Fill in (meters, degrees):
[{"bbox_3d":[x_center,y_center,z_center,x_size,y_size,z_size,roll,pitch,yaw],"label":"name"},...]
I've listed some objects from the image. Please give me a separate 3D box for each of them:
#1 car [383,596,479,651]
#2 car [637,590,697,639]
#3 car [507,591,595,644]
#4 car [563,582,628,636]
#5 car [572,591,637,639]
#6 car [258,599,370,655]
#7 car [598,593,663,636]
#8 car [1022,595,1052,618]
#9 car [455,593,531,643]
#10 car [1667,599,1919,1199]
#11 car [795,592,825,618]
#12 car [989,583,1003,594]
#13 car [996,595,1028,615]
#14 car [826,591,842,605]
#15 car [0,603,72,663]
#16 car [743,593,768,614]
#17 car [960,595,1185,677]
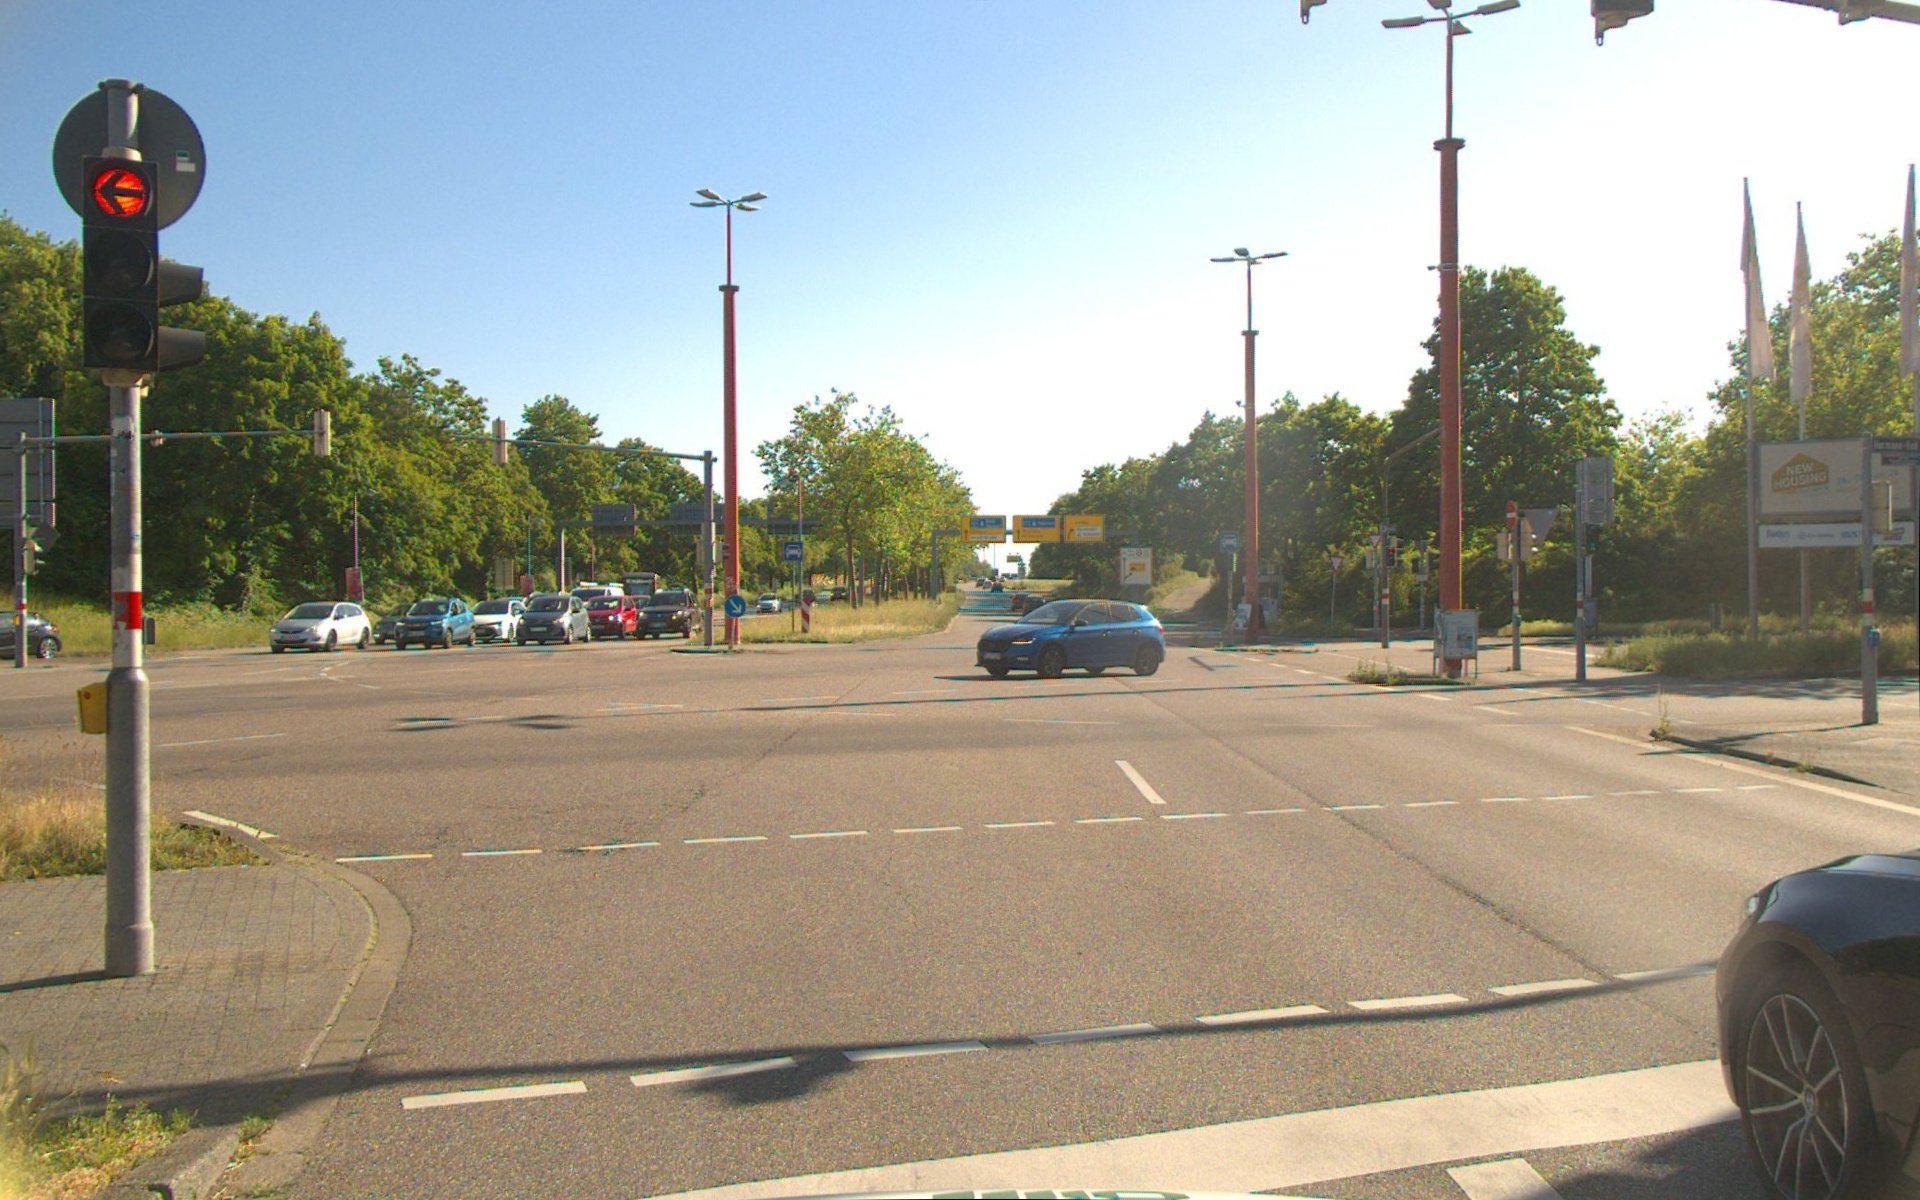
[{"bbox_3d":[-16.208,0.680,50.898,1.955,1.601,4.116,0,0,-5],"label":"car"},{"bbox_3d":[-9.873,0.470,55.998,1.841,1.601,4.113,0,0,-8],"label":"car"},{"bbox_3d":[-12.804,0.519,51.972,1.954,1.601,4.118,0,0,-4],"label":"car"},{"bbox_3d":[-15.670,0.384,71.272,2.021,2.231,4.376,0,0,-3],"label":"car"},{"bbox_3d":[-12.478,0.505,58.278,1.956,1.601,4.113,0,0,-8],"label":"car"},{"bbox_3d":[-19.586,0.783,50.305,1.954,1.601,4.118,0,0,-3],"label":"car"},{"bbox_3d":[-12.710,0.526,64.053,1.954,1.601,4.117,0,0,-4],"label":"car"},{"bbox_3d":[5.518,0.477,118.421,2.114,1.601,4.282,0,0,2],"label":"car"},{"bbox_3d":[-15.990,0.595,56.791,1.956,1.601,4.113,-1,0,-8],"label":"car"},{"bbox_3d":[2.971,0.712,2.367,1.953,1.419,4.476,0,0,-1],"label":"car"},{"bbox_3d":[-9.529,0.285,105.003,1.840,1.601,4.116,0,0,-5],"label":"car"},{"bbox_3d":[5.497,-1.757,253.352,2.114,1.601,4.281,0,0,1],"label":"car"},{"bbox_3d":[4.358,0.413,138.938,2.117,1.601,4.577,0,0,-6],"label":"car"},{"bbox_3d":[-14.838,-0.257,194.030,1.840,1.601,4.116,0,0,-5],"label":"car"},{"bbox_3d":[-27.371,0.929,46.406,1.951,1.626,4.224,0,0,16],"label":"car"},{"bbox_3d":[-16.179,0.268,131.129,1.840,1.601,4.116,0,0,-5],"label":"car"},{"bbox_3d":[2.219,0.654,32.130,4.236,1.453,1.859,-1,0,-38],"label":"car"}]
